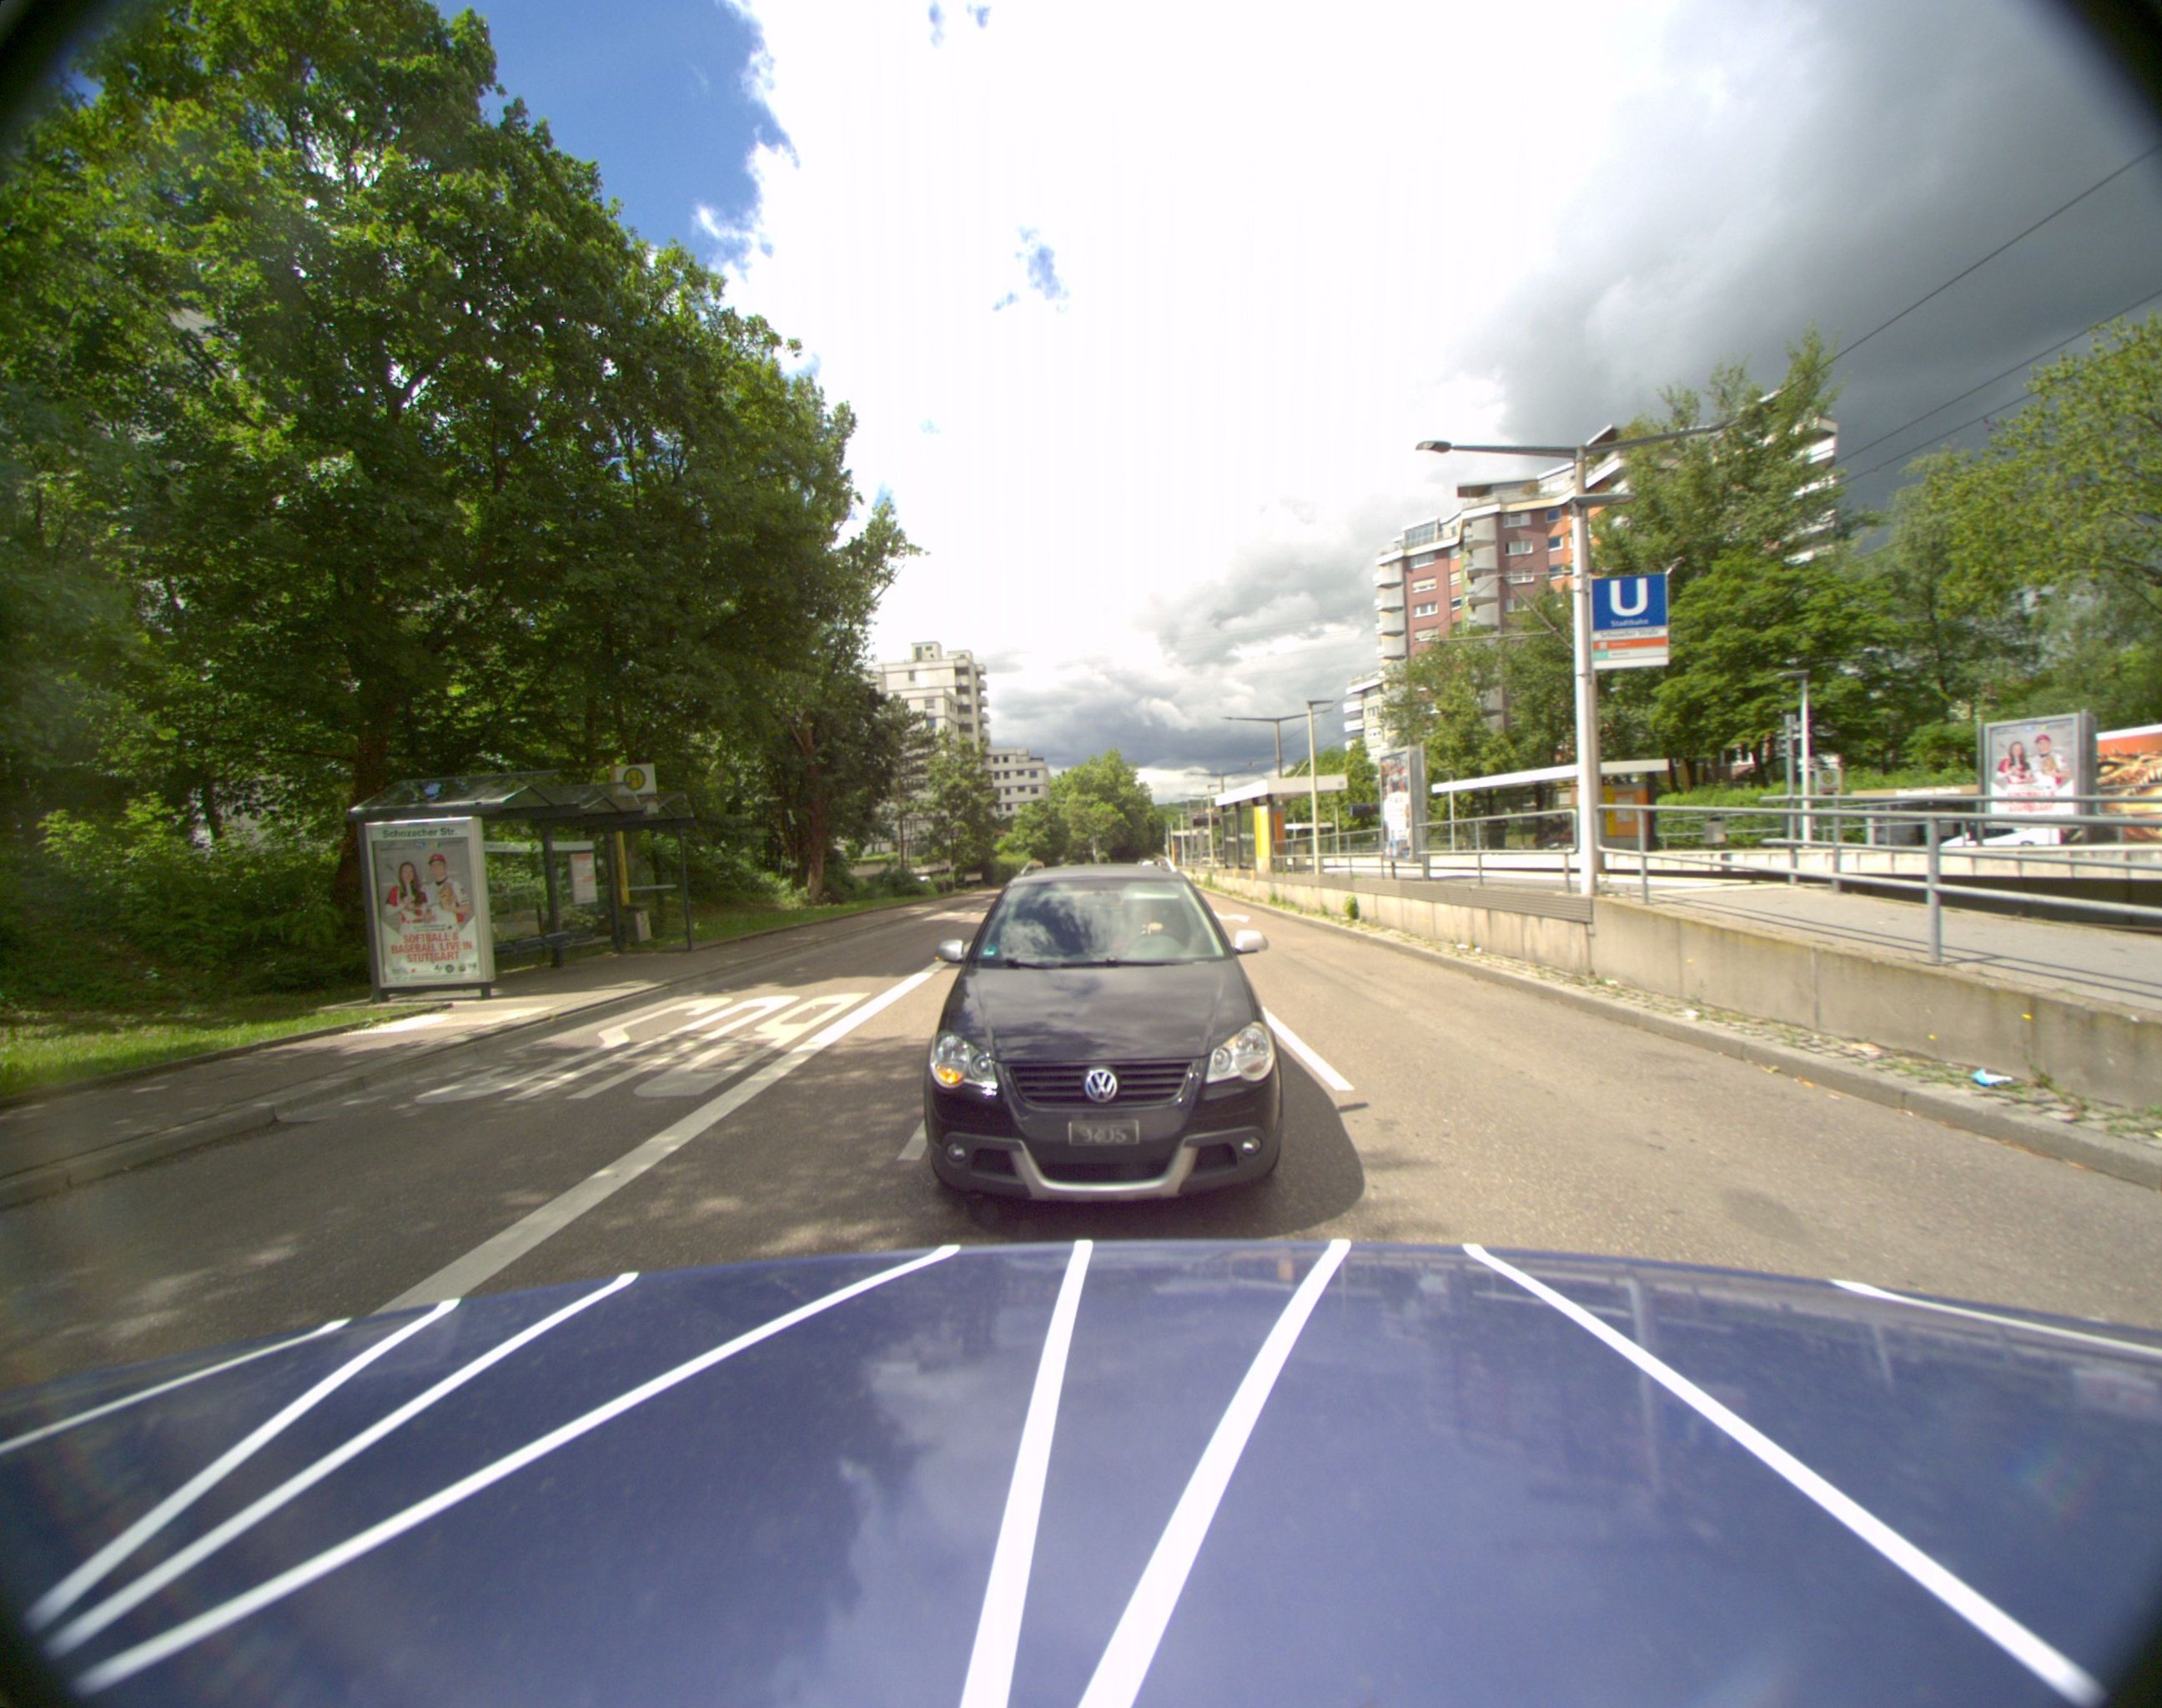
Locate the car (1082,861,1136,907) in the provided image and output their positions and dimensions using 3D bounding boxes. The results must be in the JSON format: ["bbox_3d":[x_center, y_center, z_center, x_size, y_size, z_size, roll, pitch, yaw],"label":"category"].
[{"bbox_3d":[1.027,1.027,27.219,1.732,1.452,4.001,-2,0,3],"label":"car"}]

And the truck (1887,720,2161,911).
[{"bbox_3d":[19.381,-0.679,13.502,2.420,3.203,7.263,-2,0,1],"label":"truck"}]

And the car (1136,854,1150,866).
[{"bbox_3d":[8.282,0.804,101.079,1.732,1.505,4.001,-2,1,4],"label":"car"}]

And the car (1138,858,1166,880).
[{"bbox_3d":[5.243,1.077,56.562,1.732,1.453,4.000,-2,0,1],"label":"car"}]

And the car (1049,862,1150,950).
[{"bbox_3d":[0.363,0.948,15.516,1.732,1.453,4.000,-2,0,1],"label":"car"}]

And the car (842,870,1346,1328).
[{"bbox_3d":[0.083,0.922,4.705,1.732,1.501,4.000,-2,0,1],"label":"car"}]
